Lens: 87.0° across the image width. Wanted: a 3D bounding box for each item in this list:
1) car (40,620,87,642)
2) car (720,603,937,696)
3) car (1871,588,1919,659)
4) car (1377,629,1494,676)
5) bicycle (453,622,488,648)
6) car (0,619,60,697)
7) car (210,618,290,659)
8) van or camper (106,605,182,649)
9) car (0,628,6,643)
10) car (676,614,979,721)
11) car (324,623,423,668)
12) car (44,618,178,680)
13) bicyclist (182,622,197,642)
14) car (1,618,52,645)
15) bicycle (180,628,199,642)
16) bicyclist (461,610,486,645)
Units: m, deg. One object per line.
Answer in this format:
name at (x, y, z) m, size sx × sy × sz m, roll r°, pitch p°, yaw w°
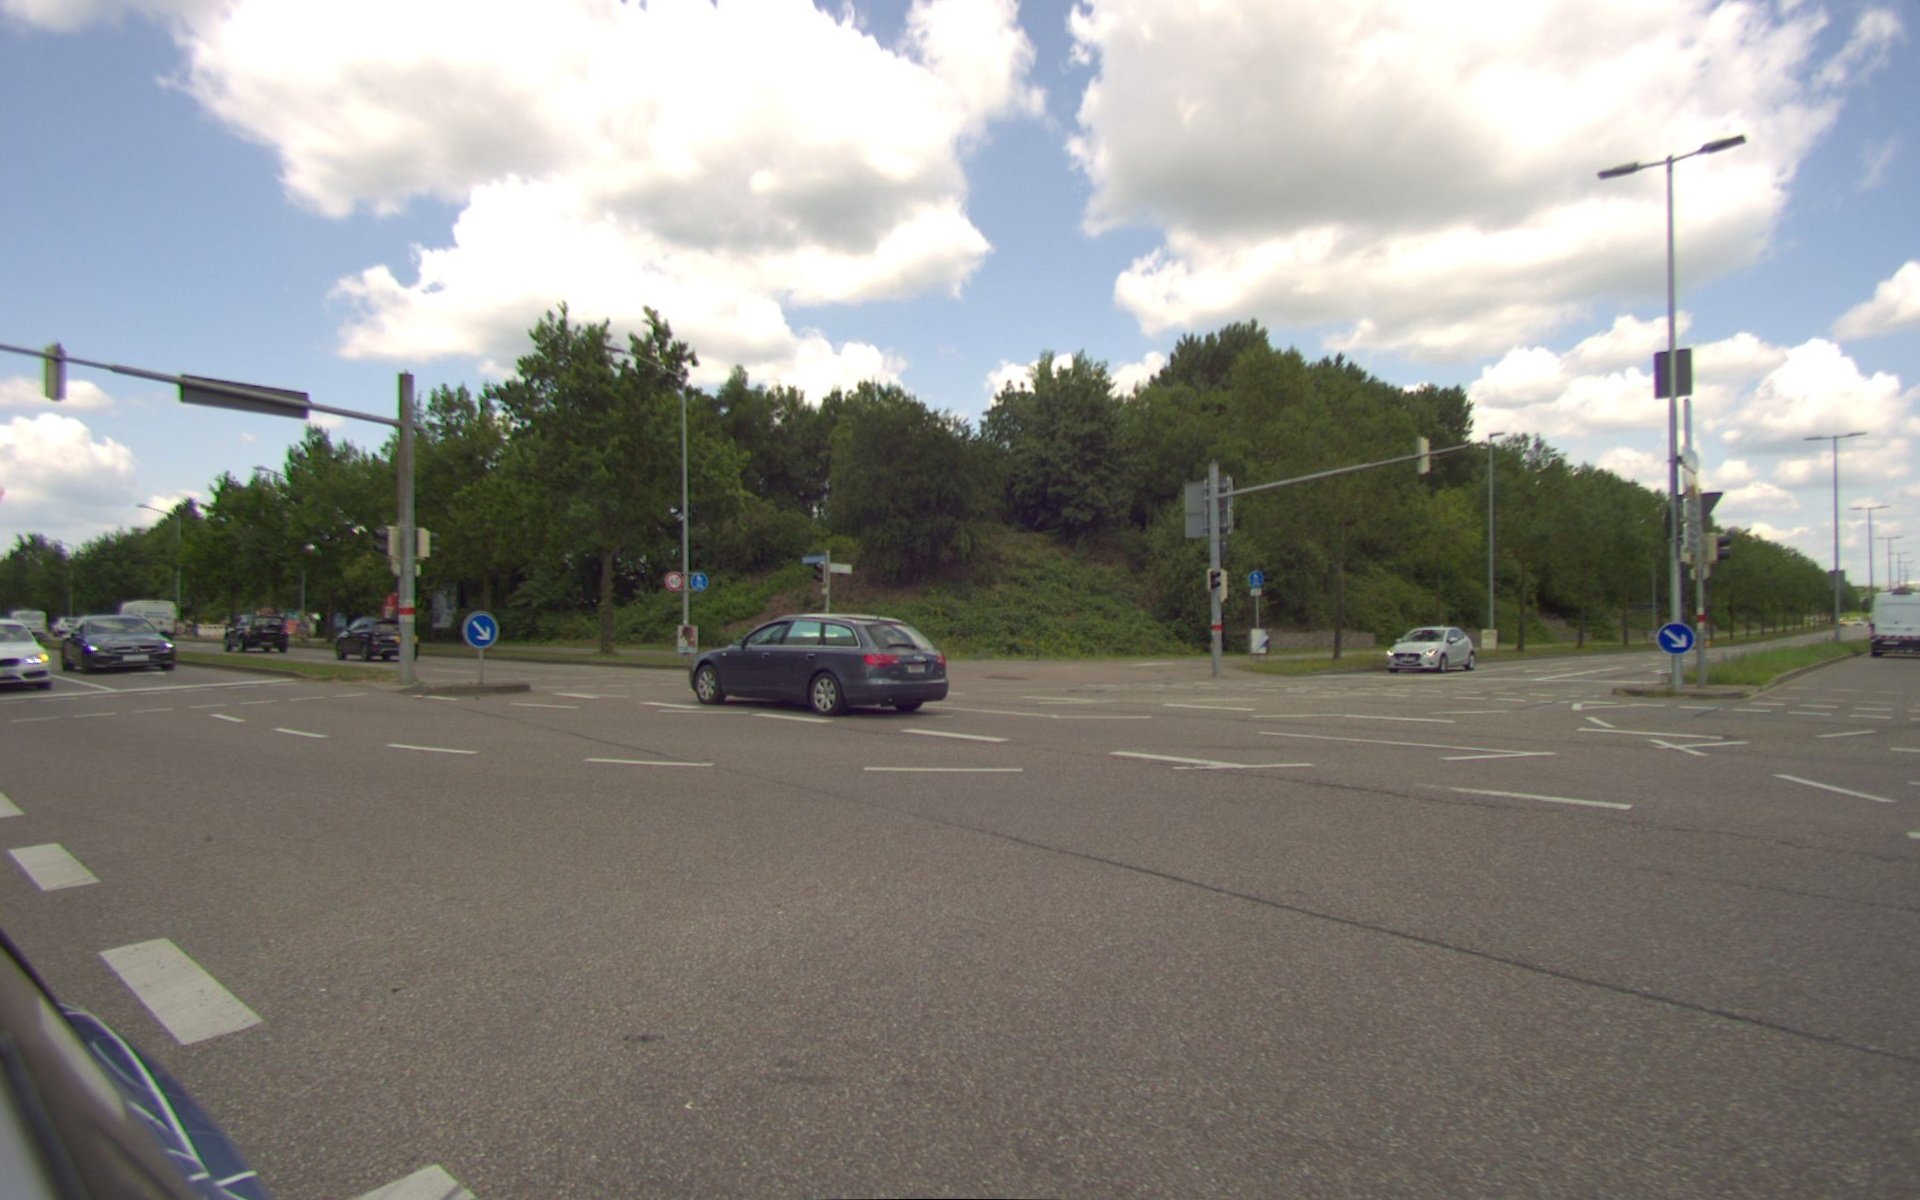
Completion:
car at (-74.852, 2.571, 84.461) m, size 4.400 × 1.815 × 1.976 m, roll -1°, pitch -2°, yaw 36°
car at (-2.661, 0.920, 19.890) m, size 4.390 × 1.644 × 1.787 m, roll -1°, pitch -2°, yaw 41°
car at (40.202, 1.008, 42.642) m, size 5.336 × 2.843 × 2.388 m, roll 2°, pitch -2°, yaw -45°
car at (15.512, 1.665, 32.953) m, size 4.257 × 1.389 × 2.002 m, roll 1°, pitch -2°, yaw -43°
bicycle at (-25.542, 1.797, 52.768) m, size 2.392 × 1.279 × 0.813 m, roll -1°, pitch 0°, yaw 42°
car at (-19.808, 1.159, 20.421) m, size 4.293 × 1.425 × 1.895 m, roll -2°, pitch 1°, yaw 41°
car at (-32.419, 1.723, 46.172) m, size 4.217 × 1.780 × 1.973 m, roll -2°, pitch -2°, yaw 40°
van or camper at (-49.750, 1.621, 61.665) m, size 7.058 × 2.559 × 2.328 m, roll -1°, pitch -1°, yaw 40°
car at (-98.215, 3.563, 102.393) m, size 5.022 × 1.442 × 1.972 m, roll -1°, pitch -2°, yaw 42°
car at (-2.157, 0.950, 15.511) m, size 4.778 × 1.400 × 1.953 m, roll -1°, pitch -3°, yaw 41°
car at (-21.220, 1.597, 36.584) m, size 3.998 × 1.541 × 1.906 m, roll -1°, pitch -2°, yaw 41°
car at (-22.343, 1.239, 26.555) m, size 4.829 × 1.426 × 1.973 m, roll -2°, pitch -1°, yaw 41°
bicyclist at (-65.096, 2.727, 85.454) m, size 0.979 × 1.671 × 0.731 m, roll -1°, pitch -2°, yaw 37°
car at (-70.241, 2.346, 76.106) m, size 5.189 × 1.979 × 2.168 m, roll -1°, pitch -2°, yaw 40°
bicycle at (-65.007, 2.979, 85.381) m, size 2.254 × 1.170 × 0.743 m, roll -1°, pitch -2°, yaw 37°
bicyclist at (-25.224, 1.425, 52.478) m, size 0.997 × 1.760 × 0.882 m, roll -1°, pitch 0°, yaw 43°
